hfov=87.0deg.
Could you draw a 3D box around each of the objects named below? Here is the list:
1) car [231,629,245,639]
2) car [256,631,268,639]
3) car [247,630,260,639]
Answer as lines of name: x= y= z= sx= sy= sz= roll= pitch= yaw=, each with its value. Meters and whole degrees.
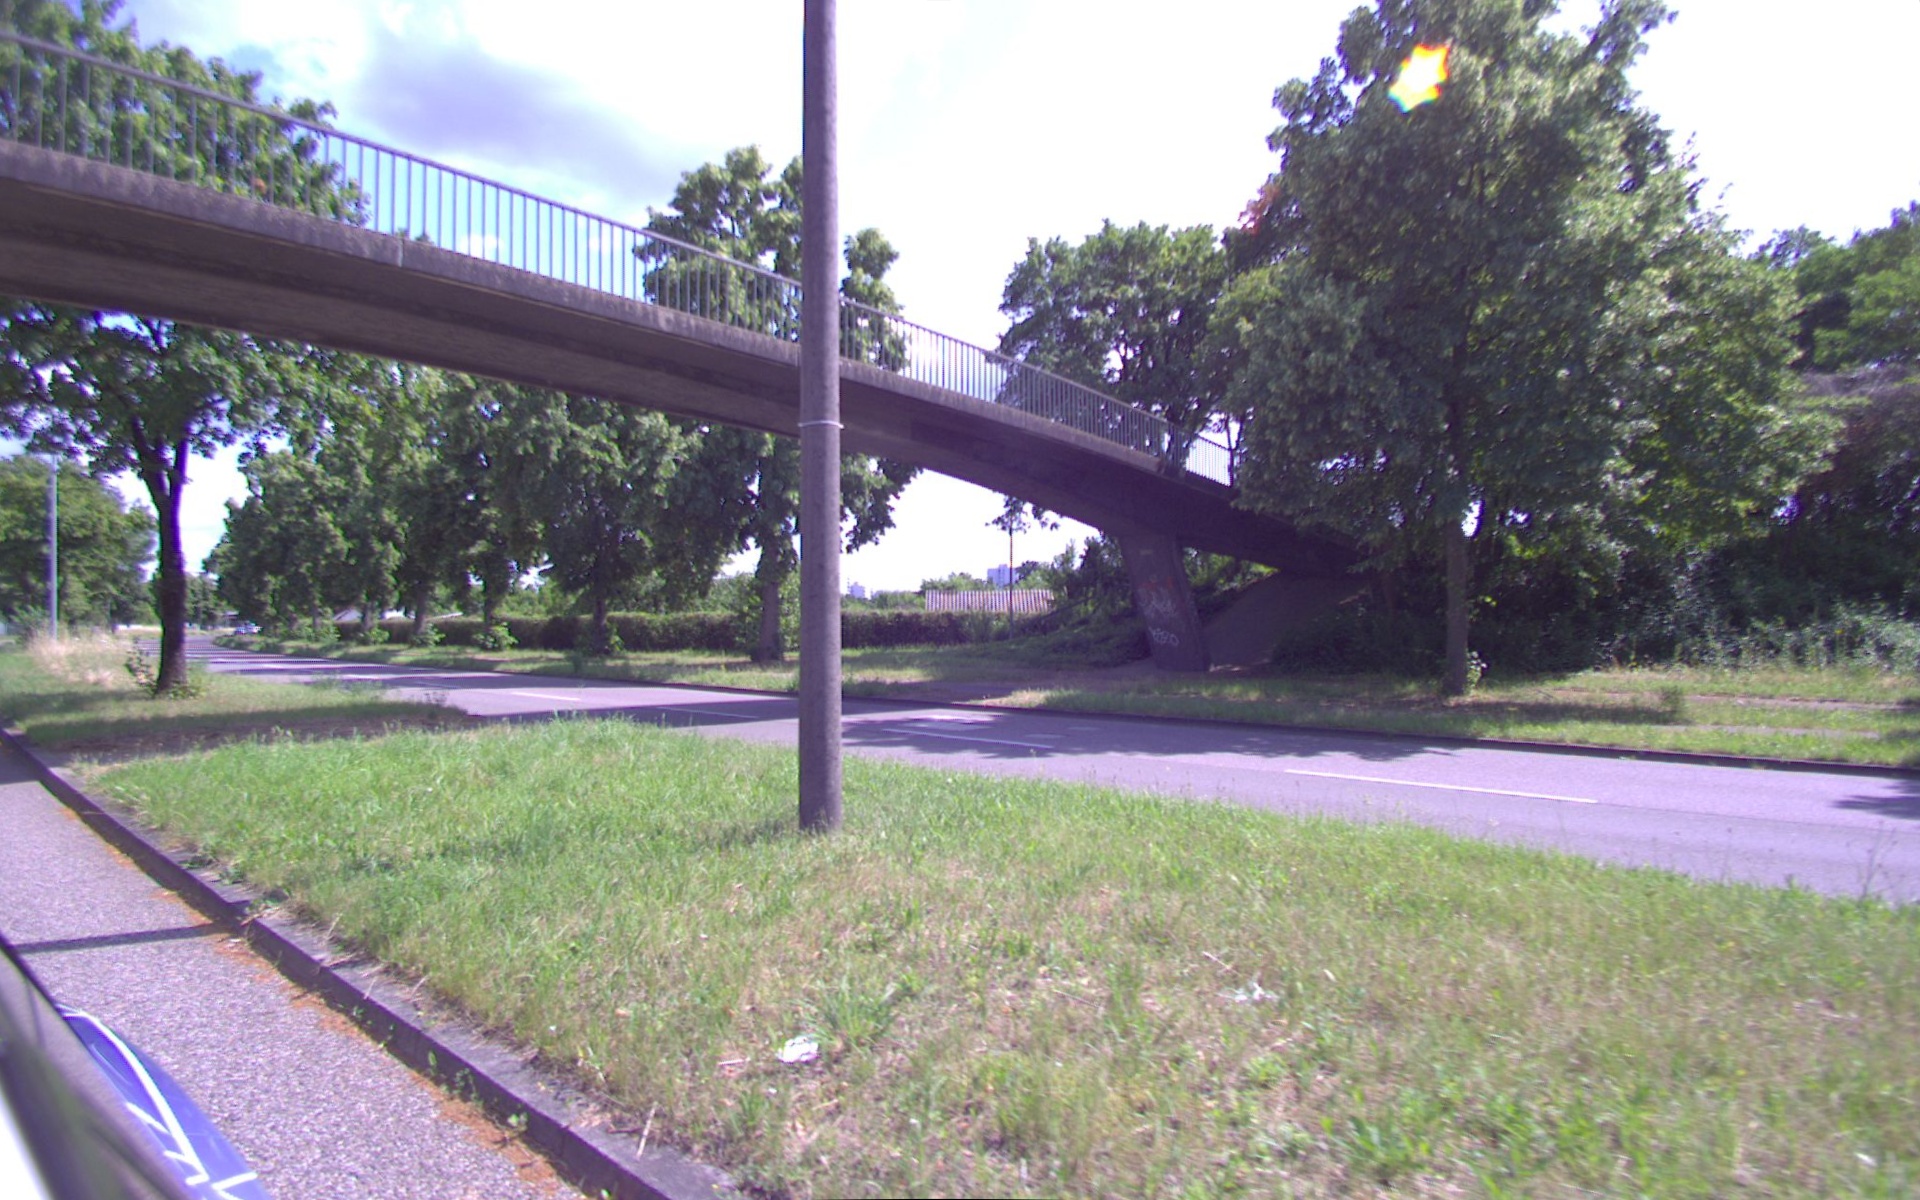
car: x=-124.704 y=5.868 z=174.829 sx=1.713 sy=1.598 sz=4.123 roll=2 pitch=-3 yaw=-32
car: x=-145.018 y=7.195 z=210.277 sx=1.712 sy=1.598 sz=4.124 roll=2 pitch=-3 yaw=-30
car: x=-138.747 y=6.781 z=198.795 sx=1.712 sy=1.598 sz=4.124 roll=2 pitch=-3 yaw=-30
